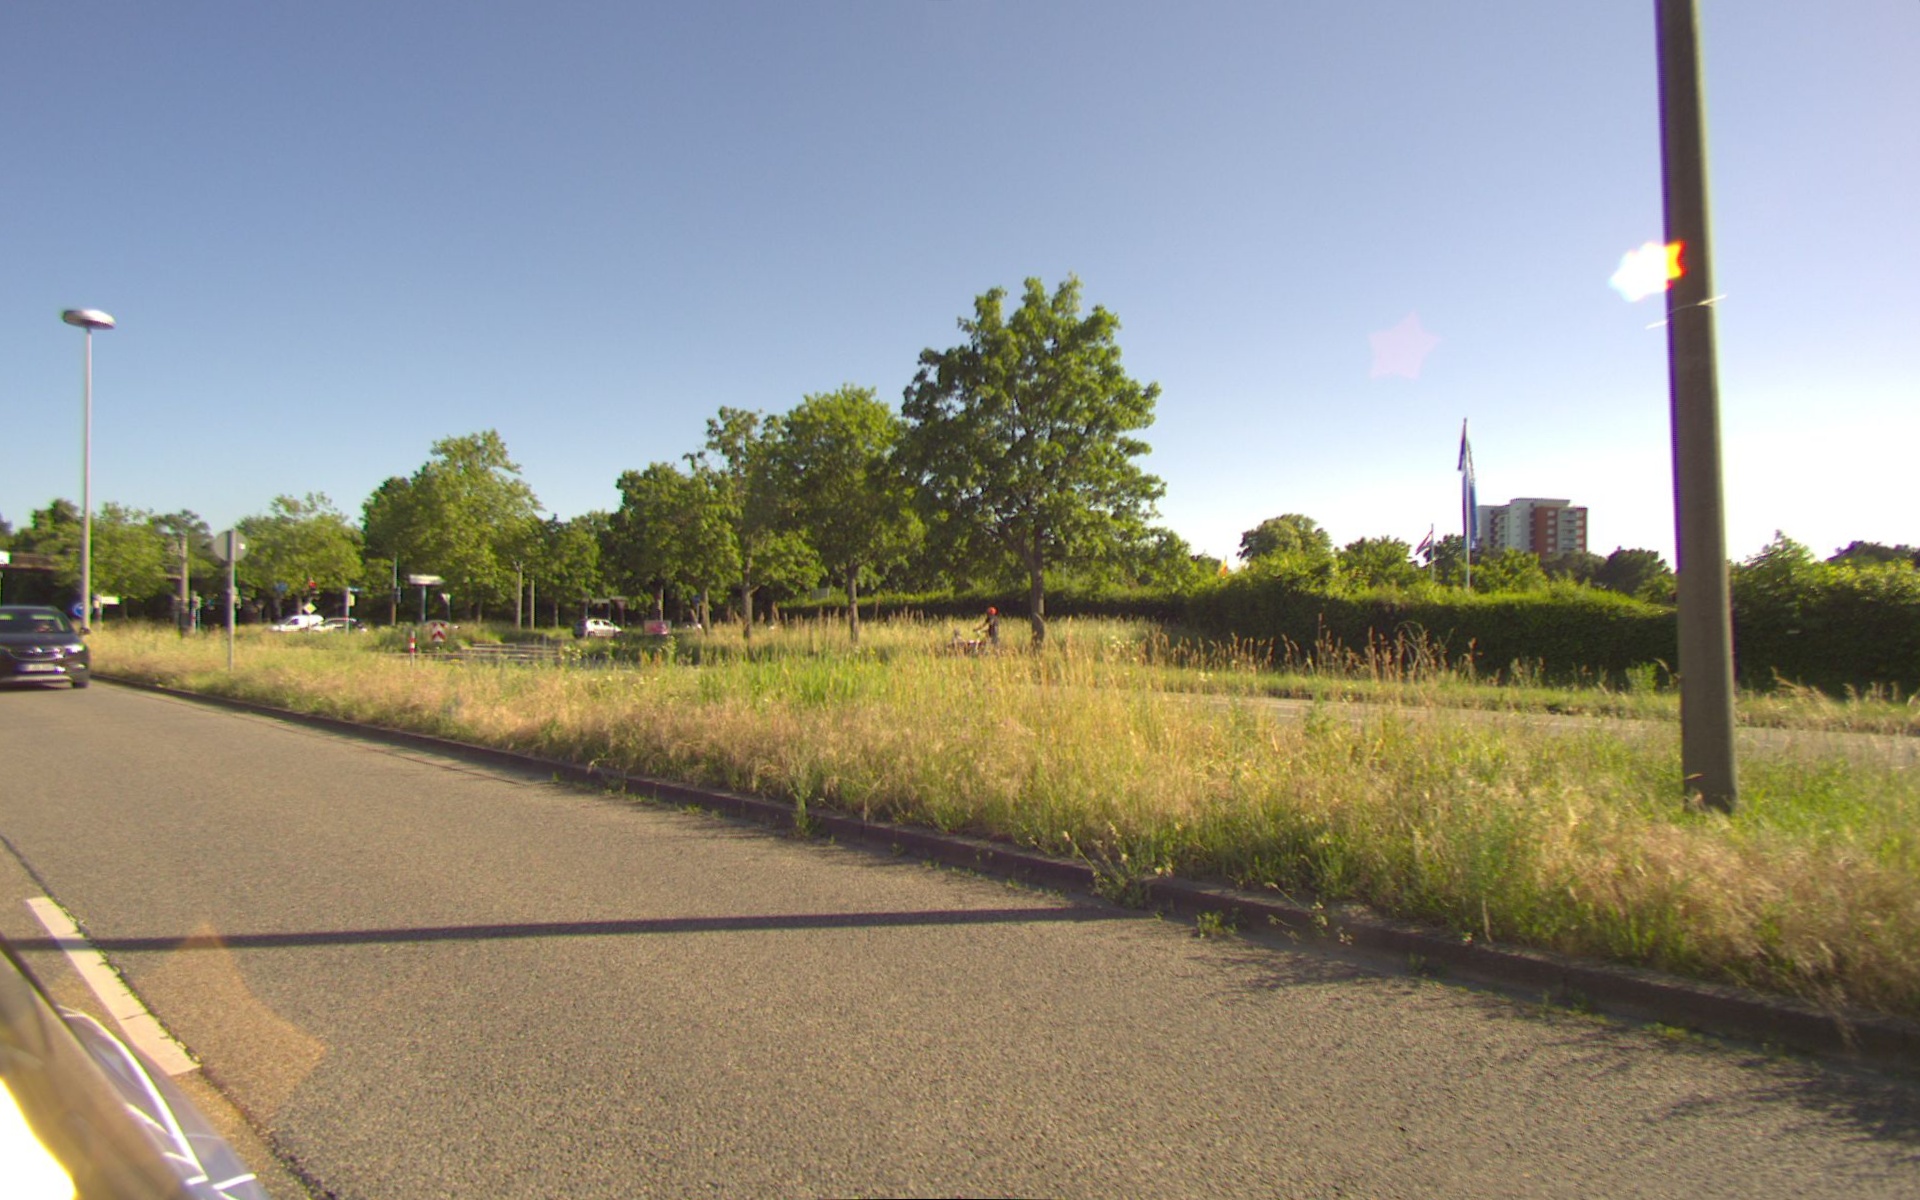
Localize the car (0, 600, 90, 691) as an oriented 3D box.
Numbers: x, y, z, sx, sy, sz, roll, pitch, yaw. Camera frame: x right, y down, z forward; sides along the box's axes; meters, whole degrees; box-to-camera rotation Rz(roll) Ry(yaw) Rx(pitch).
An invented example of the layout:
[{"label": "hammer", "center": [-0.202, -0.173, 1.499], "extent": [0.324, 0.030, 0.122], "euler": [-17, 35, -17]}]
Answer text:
[{"label": "car", "center": [-18.883, 0.876, 20.216], "extent": [3.854, 1.675, 1.692], "euler": [-1, -2, 41]}]

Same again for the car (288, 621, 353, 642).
[{"label": "car", "center": [-49.611, 2.450, 78.579], "extent": [1.847, 1.572, 3.883], "euler": [-1, -1, 32]}]

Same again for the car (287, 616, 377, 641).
[{"label": "car", "center": [-38.566, 1.738, 62.296], "extent": [1.769, 1.498, 4.492], "euler": [0, -1, 24]}]

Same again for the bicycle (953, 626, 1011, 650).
[{"label": "bicycle", "center": [0.660, 1.139, 30.485], "extent": [1.875, 0.700, 0.558], "euler": [-1, -2, 44]}]

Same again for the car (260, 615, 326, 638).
[{"label": "car", "center": [-52.615, 2.090, 79.878], "extent": [1.772, 1.768, 3.956], "euler": [-1, -1, 32]}]

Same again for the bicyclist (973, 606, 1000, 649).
[{"label": "bicyclist", "center": [0.800, 0.823, 30.356], "extent": [0.576, 1.266, 0.576], "euler": [-1, -2, 44]}]

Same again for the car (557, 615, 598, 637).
[{"label": "car", "center": [-28.623, 1.919, 75.789], "extent": [1.819, 1.583, 4.393], "euler": [0, -1, -7]}]
